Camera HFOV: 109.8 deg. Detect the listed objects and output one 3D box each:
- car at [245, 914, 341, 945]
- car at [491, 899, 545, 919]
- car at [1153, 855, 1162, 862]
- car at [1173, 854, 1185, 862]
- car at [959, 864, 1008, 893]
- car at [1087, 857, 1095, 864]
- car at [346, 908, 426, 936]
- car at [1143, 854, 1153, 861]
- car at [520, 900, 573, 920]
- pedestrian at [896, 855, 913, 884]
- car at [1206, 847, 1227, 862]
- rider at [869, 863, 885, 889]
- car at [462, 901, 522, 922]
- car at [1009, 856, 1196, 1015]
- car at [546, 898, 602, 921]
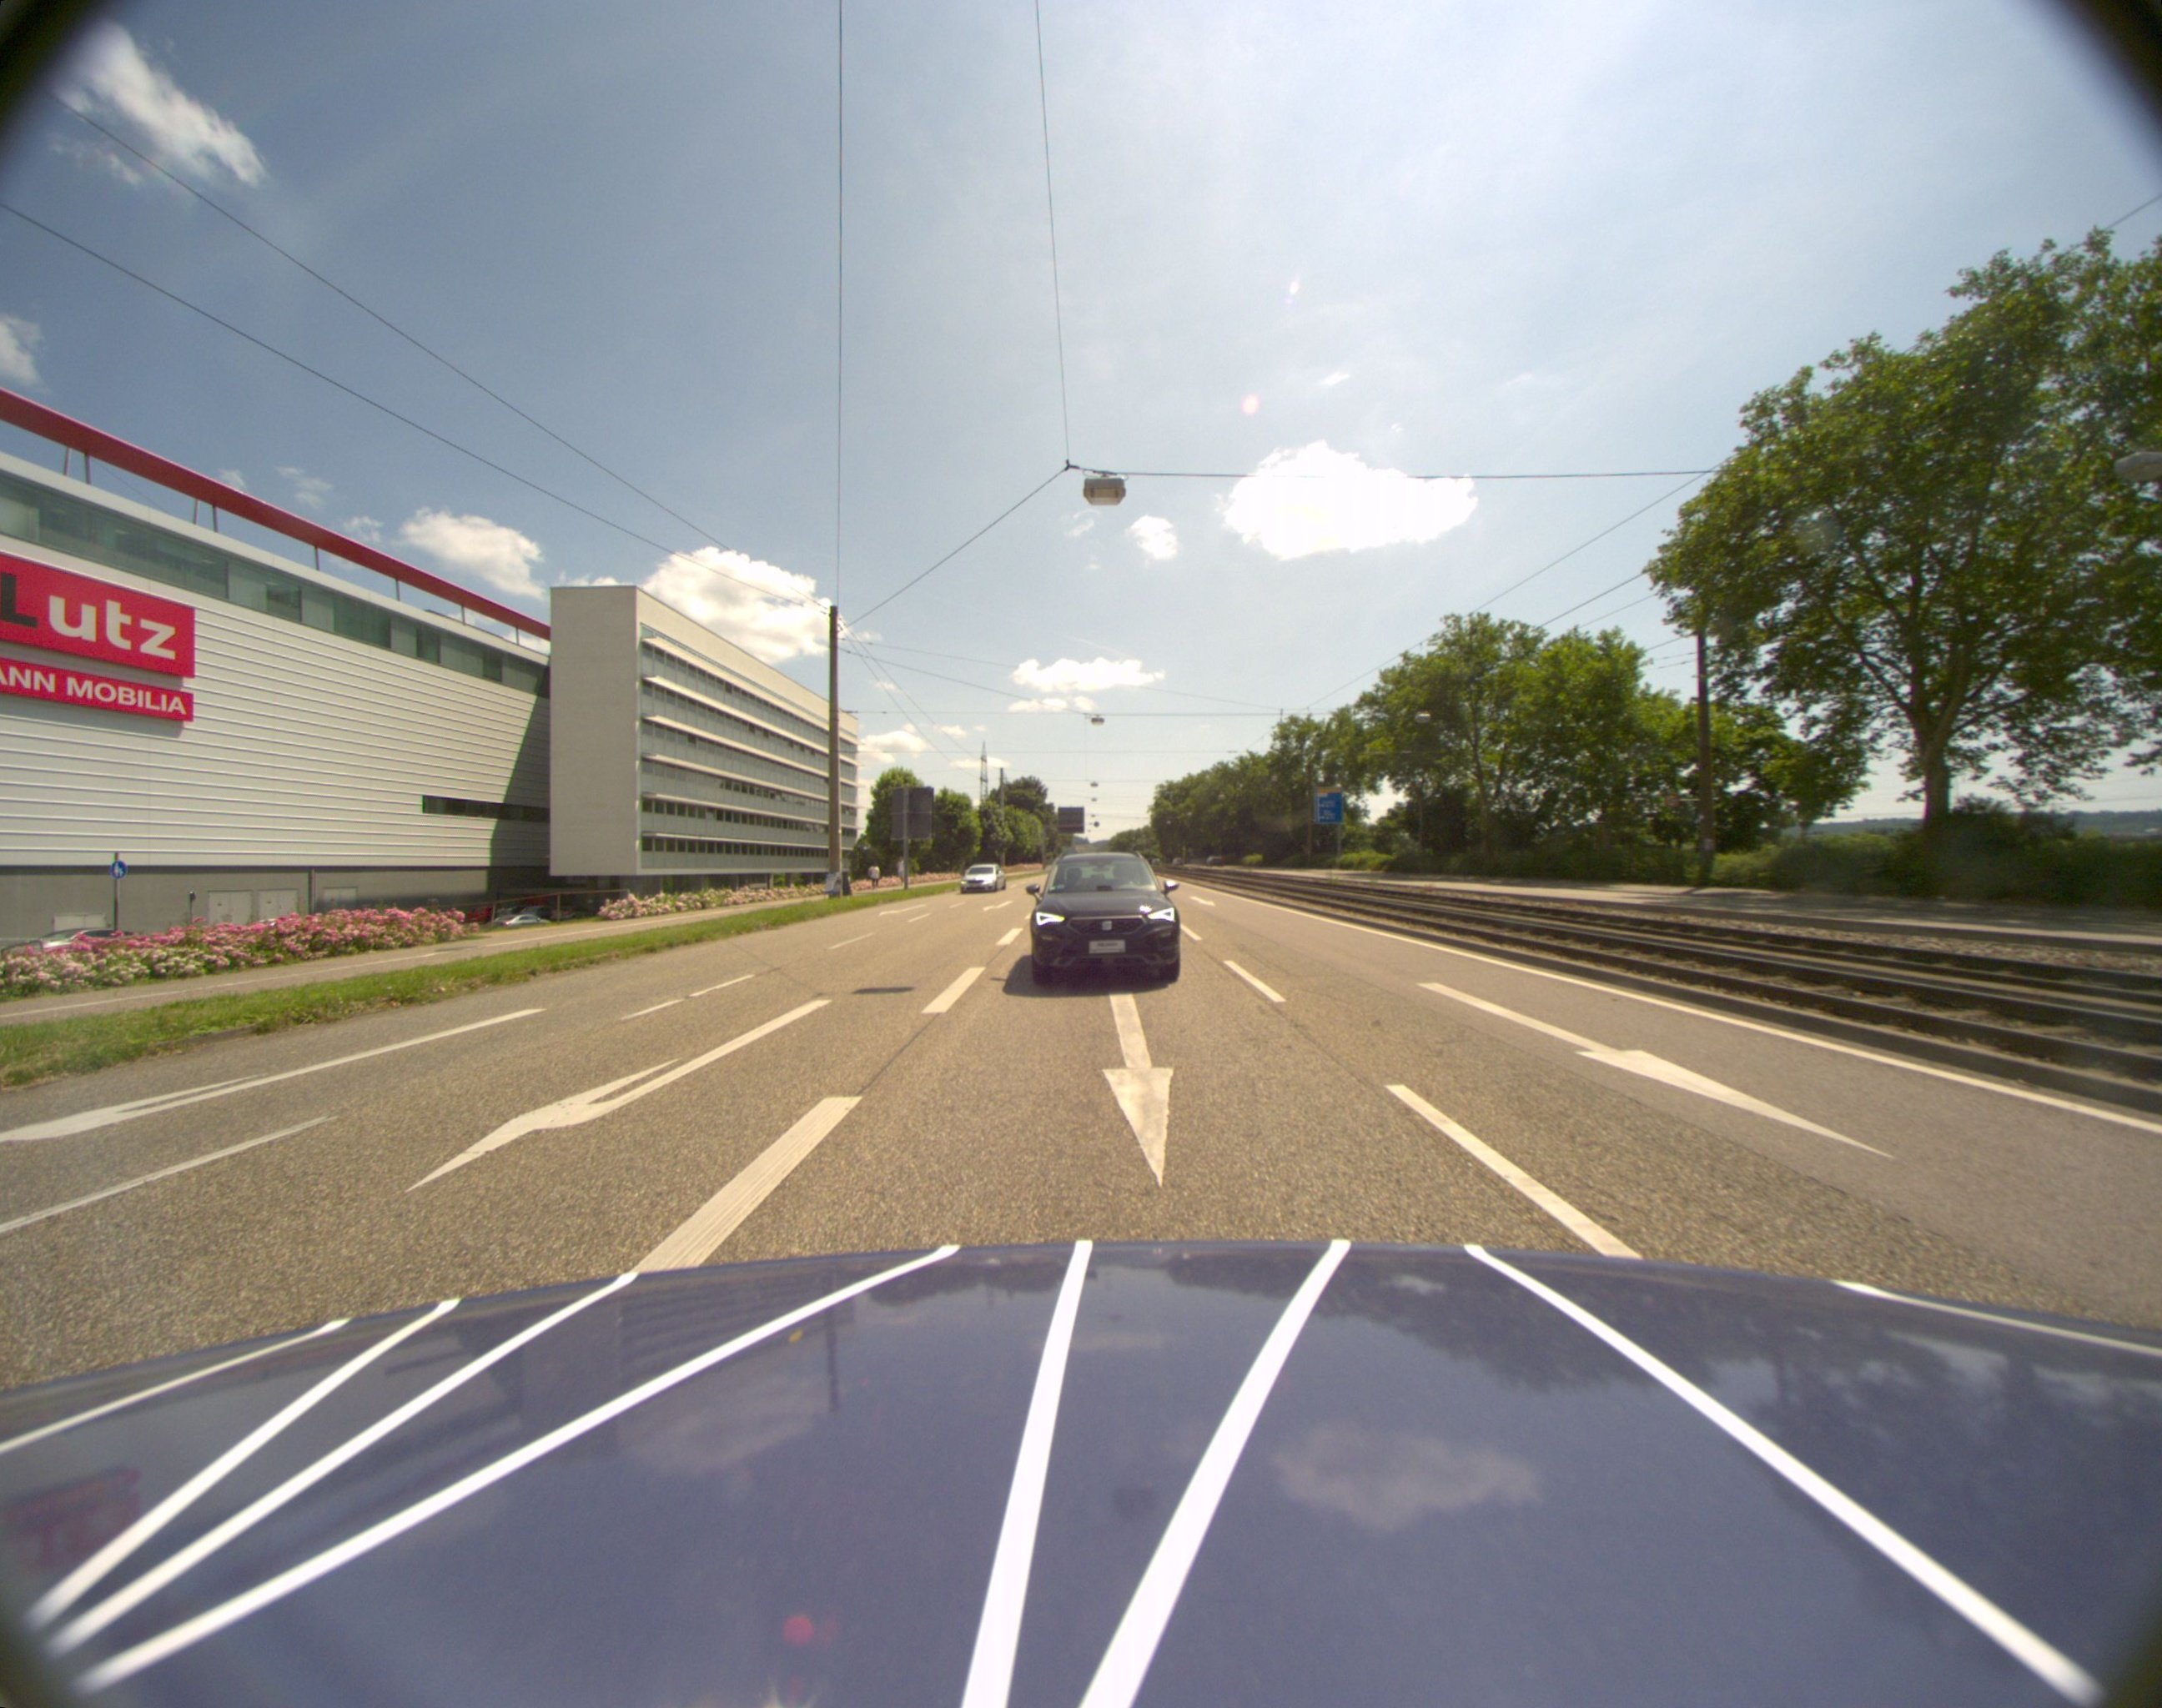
[{"bbox_3d":[-51.456,4.898,49.723,1.998,1.602,4.000,-2,0,0],"label":"car"},{"bbox_3d":[-48.223,4.687,65.174,1.648,1.377,4.000,-2,0,0],"label":"car"},{"bbox_3d":[18.262,1.018,181.221,1.690,1.574,4.058,1,0,-1],"label":"car"},{"bbox_3d":[18.351,0.754,142.387,1.826,1.407,3.884,1,0,2],"label":"car"},{"bbox_3d":[-4.971,1.227,39.206,1.896,1.331,4.000,-2,0,1],"label":"car"},{"bbox_3d":[2.481,1.551,193.641,1.998,1.641,4.000,-2,0,1],"label":"car"},{"bbox_3d":[-49.900,4.855,54.664,1.998,1.602,4.000,-2,0,0],"label":"car"},{"bbox_3d":[17.507,1.015,198.862,1.999,1.820,4.969,1,0,-1],"label":"car"},{"bbox_3d":[-45.671,4.789,65.035,1.609,1.314,4.000,-2,0,0],"label":"car"},{"bbox_3d":[-11.113,0.971,47.973,0.758,1.838,0.931,-2,1,3],"label":"pedestrian"},{"bbox_3d":[18.309,0.061,103.070,1.998,1.907,4.410,-2,0,0],"label":"car"},{"bbox_3d":[-11.352,1.215,42.319,0.671,1.449,0.618,-2,1,0],"label":"rider"},{"bbox_3d":[-50.712,4.902,65.500,1.998,1.438,4.000,-2,0,0],"label":"car"},{"bbox_3d":[0.244,0.852,10.146,1.898,1.564,4.511,-2,0,0],"label":"car"},{"bbox_3d":[-43.349,4.703,65.043,1.998,1.602,4.000,-2,0,0],"label":"car"}]
